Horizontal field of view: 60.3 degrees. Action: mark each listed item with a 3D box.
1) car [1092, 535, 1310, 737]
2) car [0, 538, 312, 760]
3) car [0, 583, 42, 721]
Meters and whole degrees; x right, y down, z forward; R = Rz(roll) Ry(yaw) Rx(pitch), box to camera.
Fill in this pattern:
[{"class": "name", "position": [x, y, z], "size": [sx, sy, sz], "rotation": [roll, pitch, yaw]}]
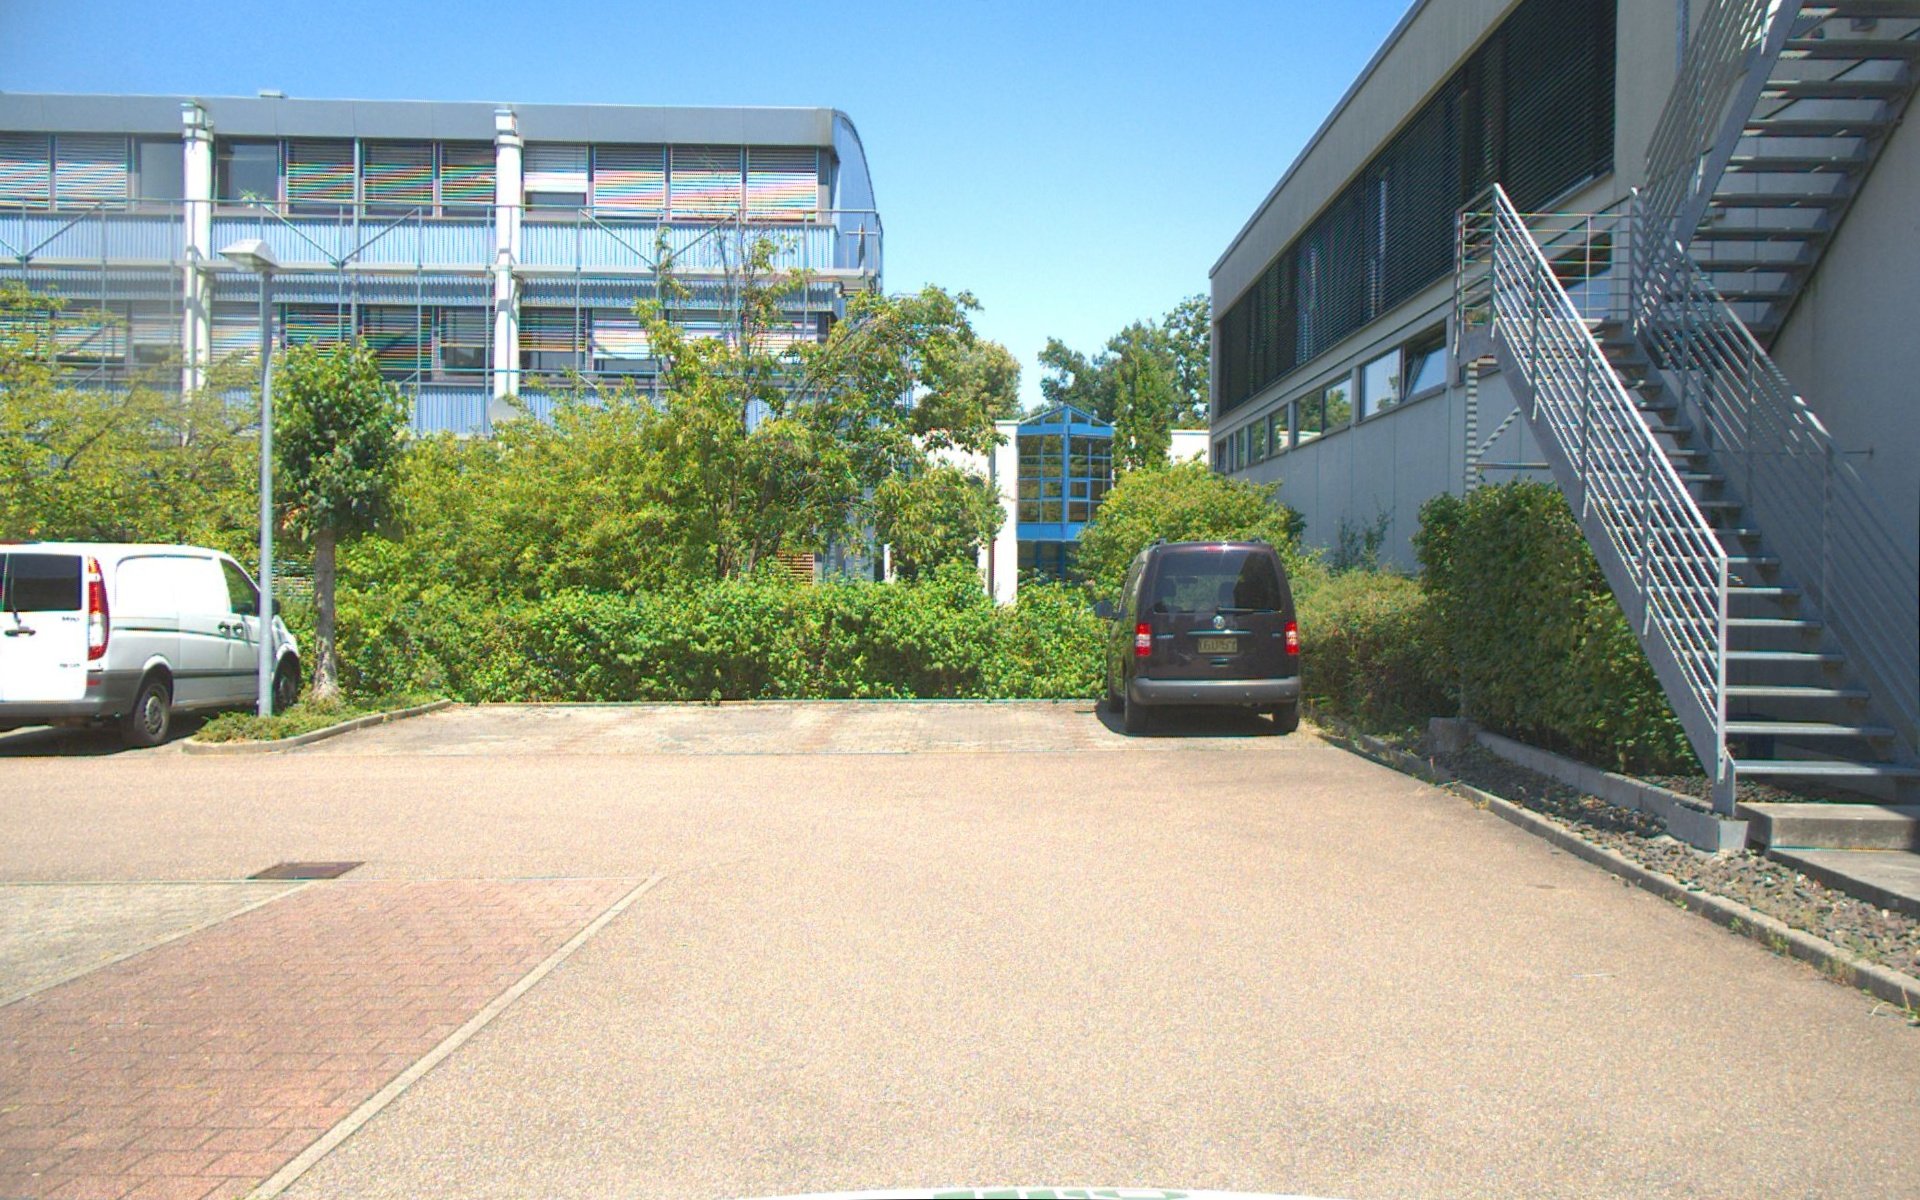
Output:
[{"class": "car", "position": [2.426, 0.306, 17.515], "size": [1.707, 1.869, 4.000], "rotation": [-1, 1, 0]}, {"class": "car", "position": [-8.512, 0.380, 16.952], "size": [1.874, 1.938, 4.807], "rotation": [-1, 1, -1]}, {"class": "car", "position": [-11.330, 0.617, 17.287], "size": [1.722, 1.502, 3.992], "rotation": [-1, 1, -9]}]
